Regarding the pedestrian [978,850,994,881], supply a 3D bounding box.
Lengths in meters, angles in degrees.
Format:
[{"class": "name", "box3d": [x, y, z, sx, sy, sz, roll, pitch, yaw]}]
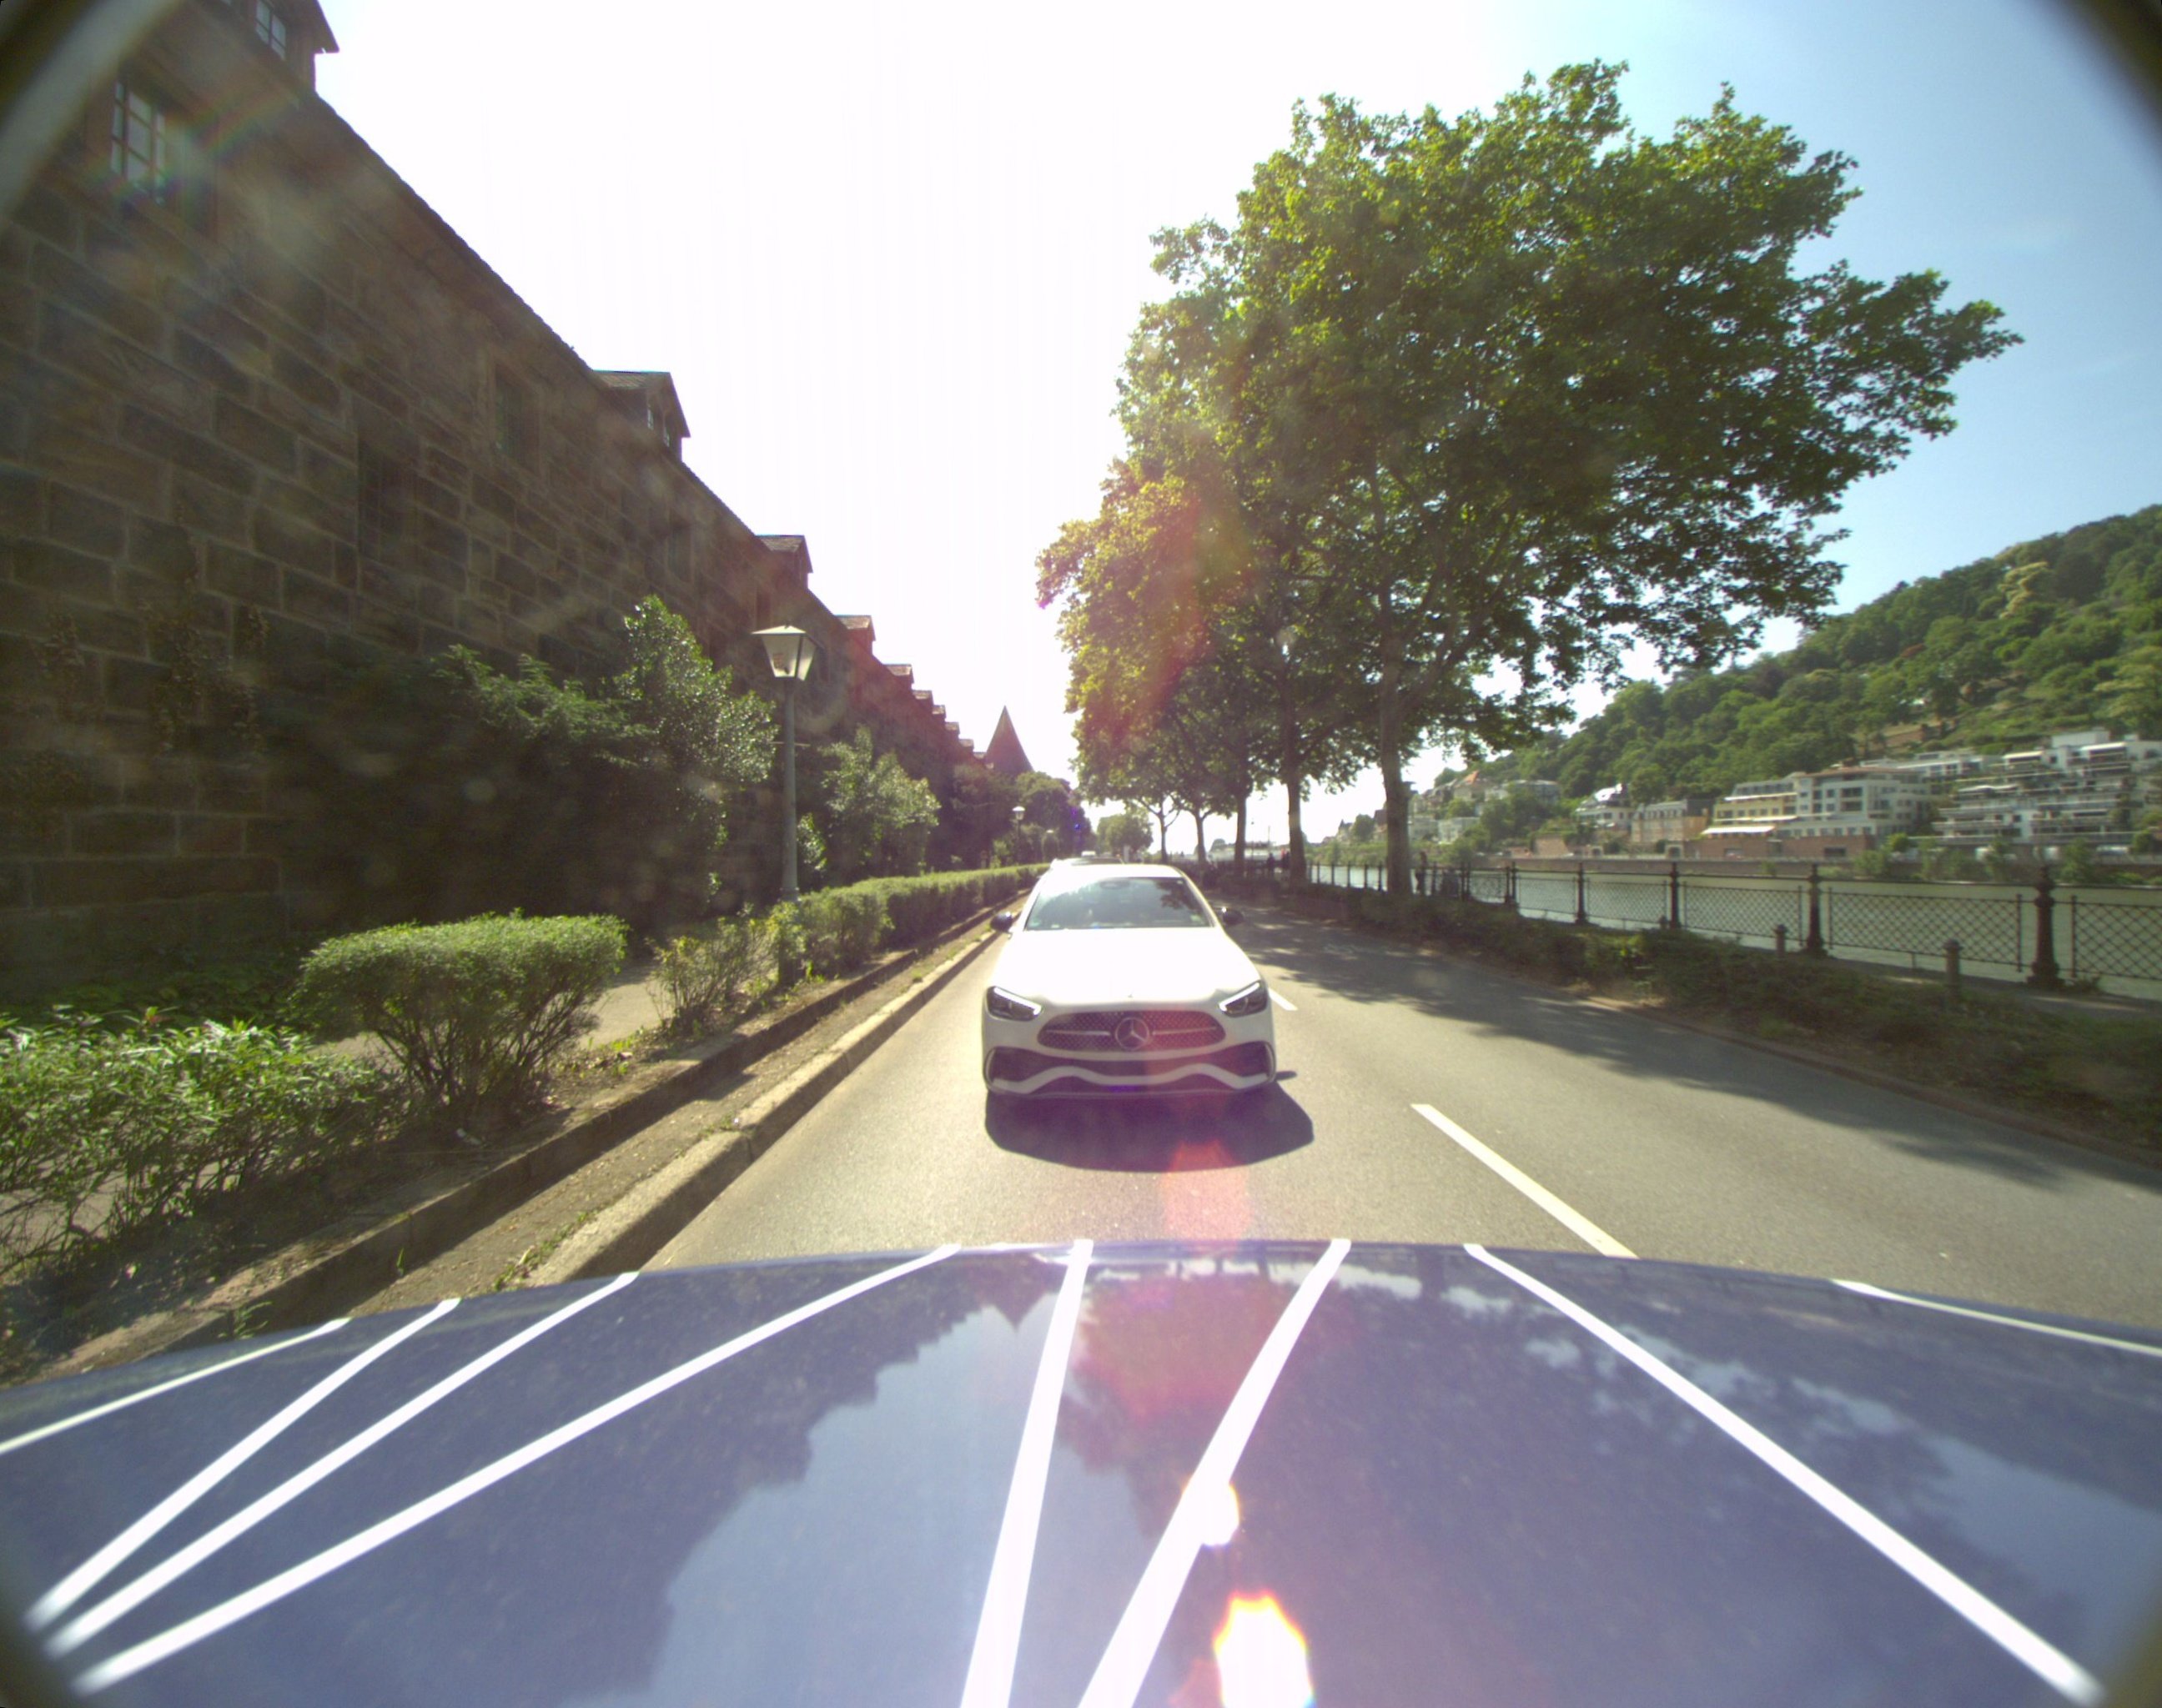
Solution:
[{"class": "pedestrian", "box3d": [-4.752, 0.569, 38.002, 0.643, 1.555, 0.563, -2, 1, 1]}]

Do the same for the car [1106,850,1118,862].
[{"class": "car", "box3d": [5.722, 0.372, 140.029, 2.165, 2.002, 4.000, -2, 1, 1]}]

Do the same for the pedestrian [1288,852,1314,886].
[{"class": "pedestrian", "box3d": [10.873, 0.748, 37.589, 0.898, 1.625, 1.058, -2, 1, -2]}]

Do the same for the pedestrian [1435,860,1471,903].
[{"class": "pedestrian", "box3d": [12.172, 0.891, 24.889, 0.768, 1.379, 0.770, 1, 0, 0]}]

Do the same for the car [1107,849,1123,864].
[{"class": "car", "box3d": [4.966, 0.343, 111.114, 2.165, 2.002, 4.000, -2, 1, 1]}]

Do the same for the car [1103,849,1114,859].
[{"class": "car", "box3d": [6.050, 0.030, 165.984, 2.165, 2.002, 4.000, -2, 1, 1]}]

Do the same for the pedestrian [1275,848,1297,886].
[{"class": "pedestrian", "box3d": [10.188, 0.620, 37.748, 0.806, 1.839, 0.929, -2, 1, 1]}]

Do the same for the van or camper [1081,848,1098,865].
[{"class": "van or camper", "box3d": [1.170, 0.385, 107.303, 2.313, 2.358, 5.035, 1, 0, 0]}]

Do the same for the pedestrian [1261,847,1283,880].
[{"class": "pedestrian", "box3d": [11.975, 0.594, 47.657, 1.047, 2.002, 1.036, -1, 1, 31]}]

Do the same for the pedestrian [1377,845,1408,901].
[{"class": "pedestrian", "box3d": [10.654, 0.631, 26.011, 0.767, 1.889, 0.771, 1, 1, 8]}]

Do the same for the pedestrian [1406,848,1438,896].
[{"class": "pedestrian", "box3d": [12.805, 0.665, 28.555, 0.777, 1.748, 0.830, 1, 1, 0]}]

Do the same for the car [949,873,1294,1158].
[{"class": "car", "box3d": [0.249, 0.935, 6.273, 1.833, 1.395, 4.270, -2, 0, 1]}]

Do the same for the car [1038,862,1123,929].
[{"class": "car", "box3d": [0.021, 0.941, 19.083, 1.833, 1.395, 4.424, -2, 0, 1]}]

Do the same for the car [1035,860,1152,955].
[{"class": "car", "box3d": [0.229, 0.875, 14.299, 1.833, 1.428, 4.270, -2, 0, 1]}]
